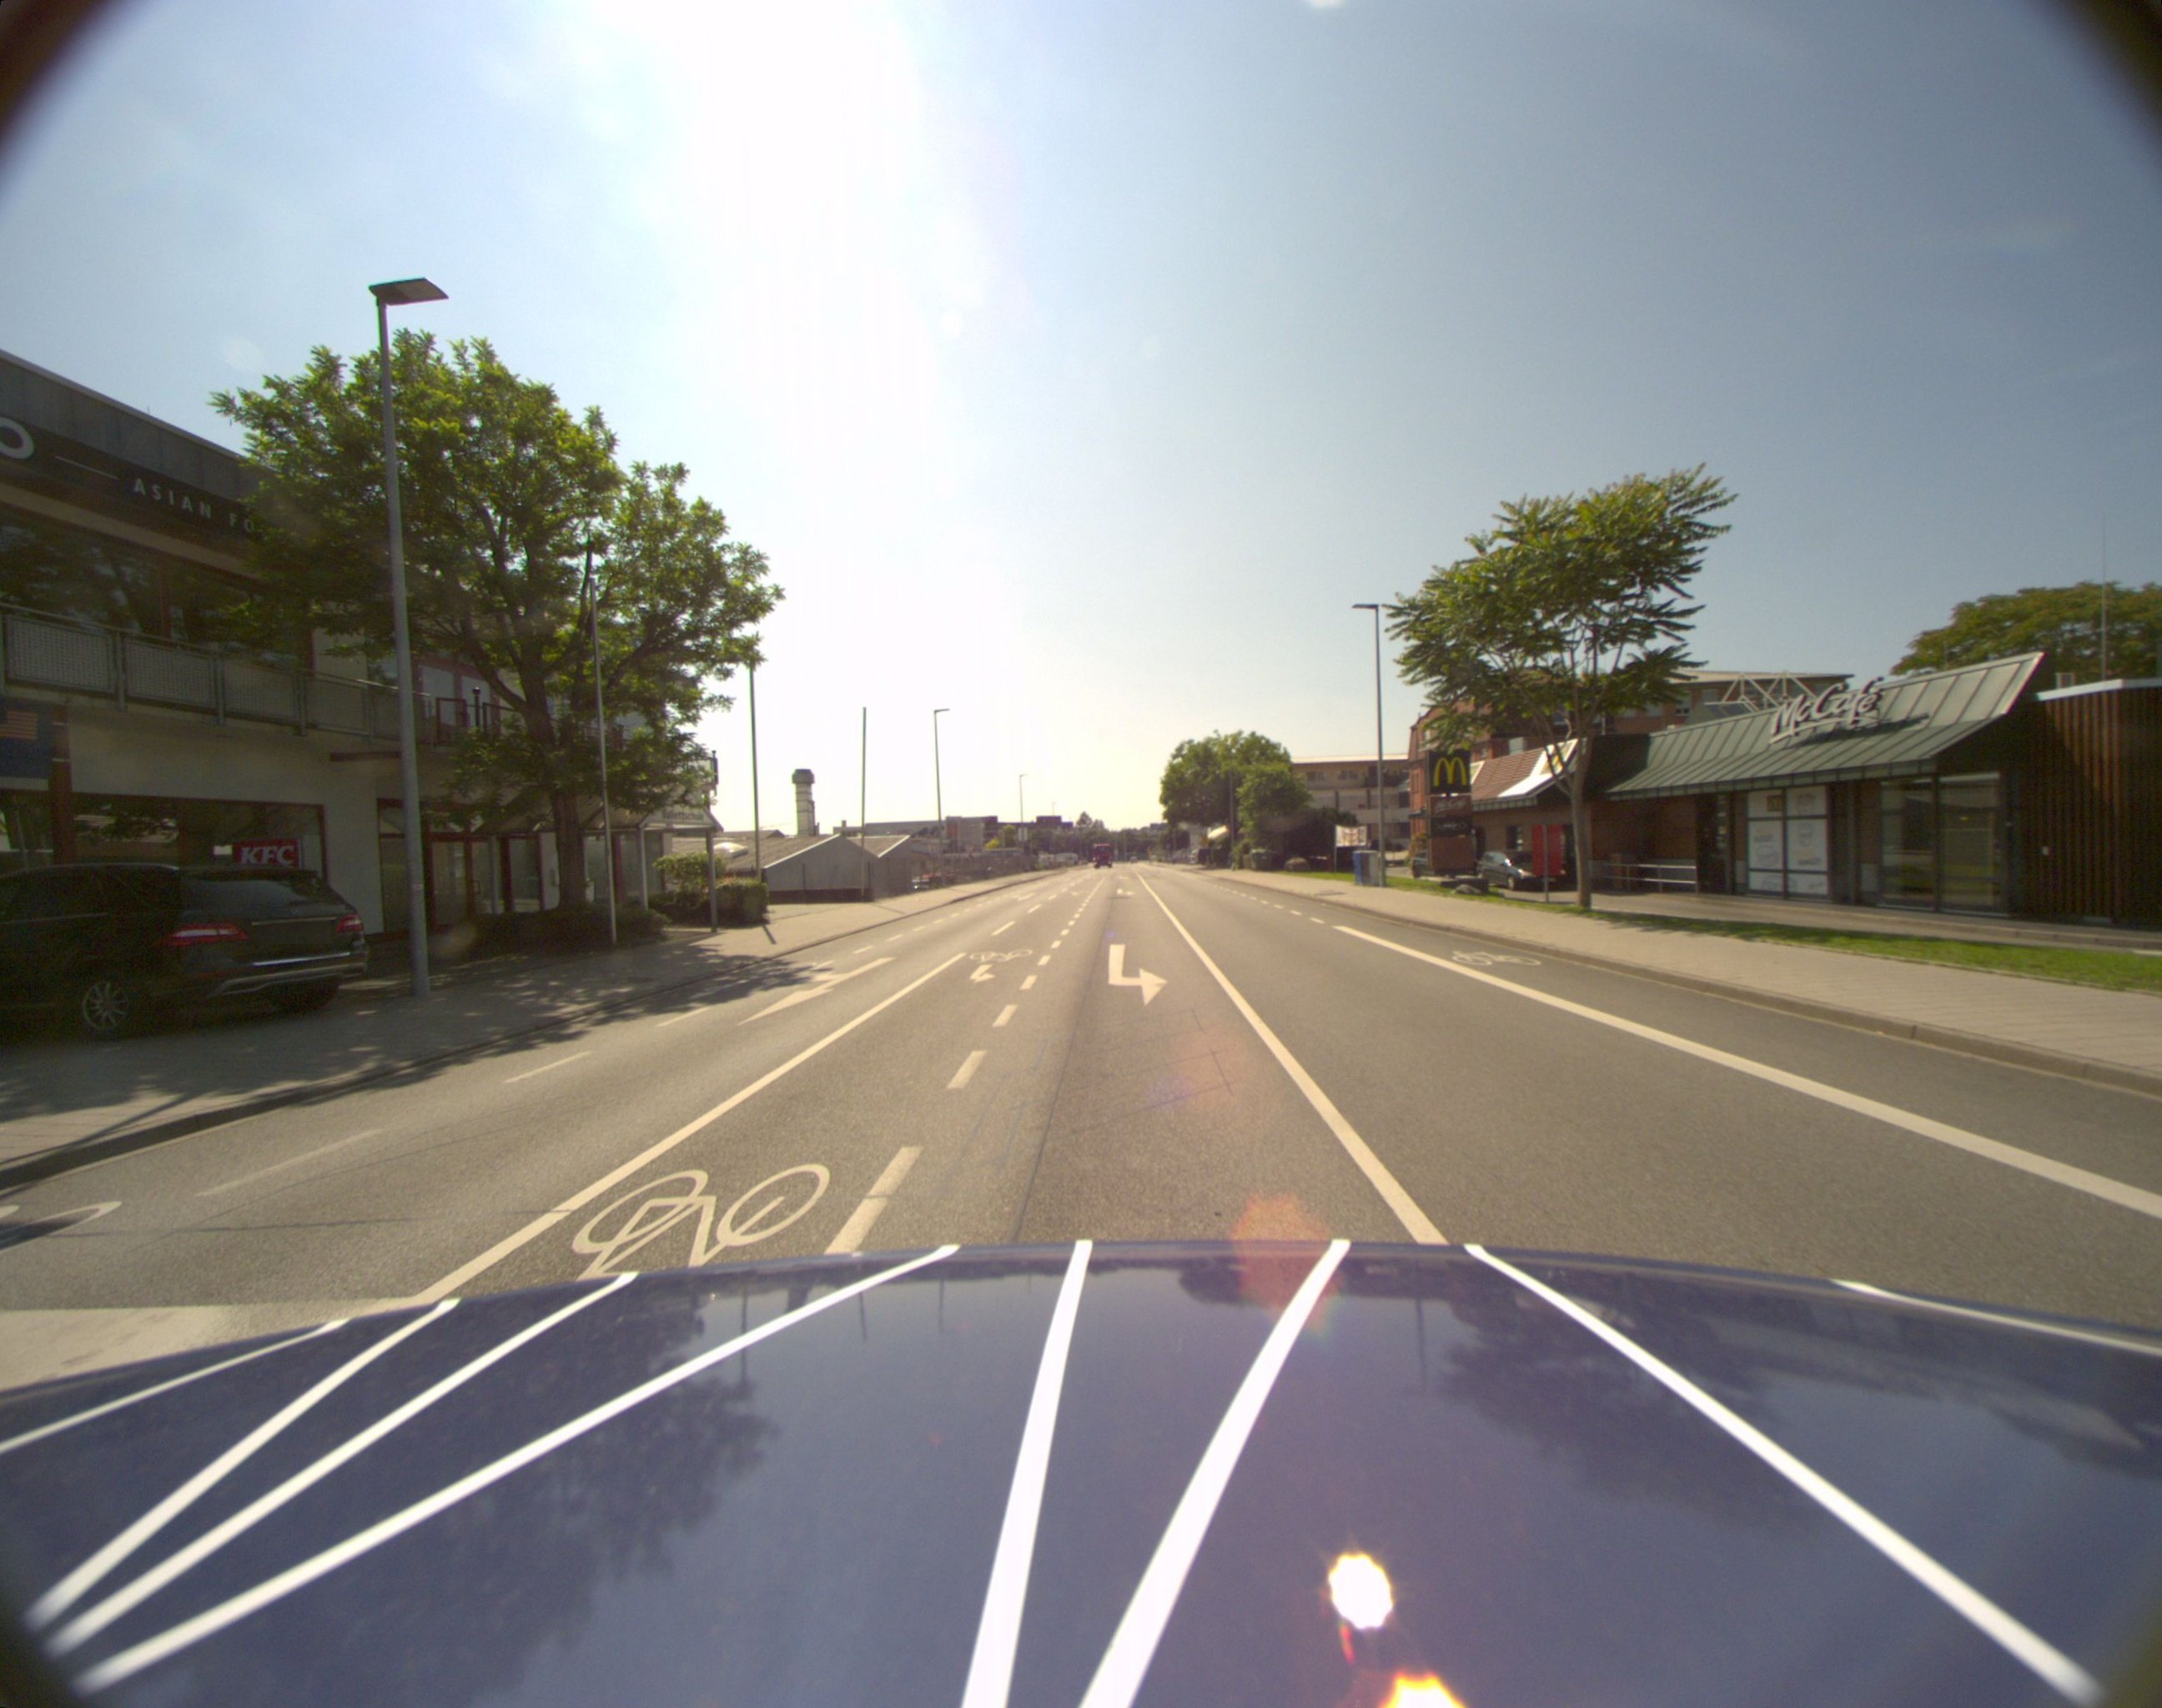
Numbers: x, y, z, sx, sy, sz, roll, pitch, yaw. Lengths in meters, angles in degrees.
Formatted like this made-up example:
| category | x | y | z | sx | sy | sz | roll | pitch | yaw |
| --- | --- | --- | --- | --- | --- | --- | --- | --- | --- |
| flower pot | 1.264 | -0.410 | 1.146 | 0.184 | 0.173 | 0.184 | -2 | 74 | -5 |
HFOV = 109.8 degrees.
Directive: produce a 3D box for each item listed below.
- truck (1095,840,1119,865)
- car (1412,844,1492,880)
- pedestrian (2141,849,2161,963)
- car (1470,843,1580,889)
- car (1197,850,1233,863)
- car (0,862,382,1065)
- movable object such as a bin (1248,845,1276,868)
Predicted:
| category | x | y | z | sx | sy | sz | roll | pitch | yaw |
| --- | --- | --- | --- | --- | --- | --- | --- | --- | --- |
| truck | 3.741 | -0.262 | 111.330 | 3.312 | 3.367 | 9.167 | -2 | 1 | 1 |
| car | 17.074 | 0.333 | 35.219 | 1.864 | 1.543 | 4.189 | -2 | 1 | 4 |
| pedestrian | 16.916 | 0.794 | 11.451 | 0.638 | 1.747 | 0.892 | -2 | 1 | -7 |
| car | 16.526 | 0.406 | 28.552 | 1.864 | 1.543 | 4.189 | -2 | 1 | 4 |
| car | 15.004 | 0.268 | 85.332 | 3.903 | 1.390 | 1.653 | -2 | 1 | 8 |
| car | -10.686 | 1.100 | 8.185 | 4.655 | 1.845 | 1.809 | -2 | 1 | 3 |
| movable object such as a bin | 11.602 | 0.175 | 48.821 | 1.468 | 1.403 | 1.456 | -2 | 1 | 3 |
